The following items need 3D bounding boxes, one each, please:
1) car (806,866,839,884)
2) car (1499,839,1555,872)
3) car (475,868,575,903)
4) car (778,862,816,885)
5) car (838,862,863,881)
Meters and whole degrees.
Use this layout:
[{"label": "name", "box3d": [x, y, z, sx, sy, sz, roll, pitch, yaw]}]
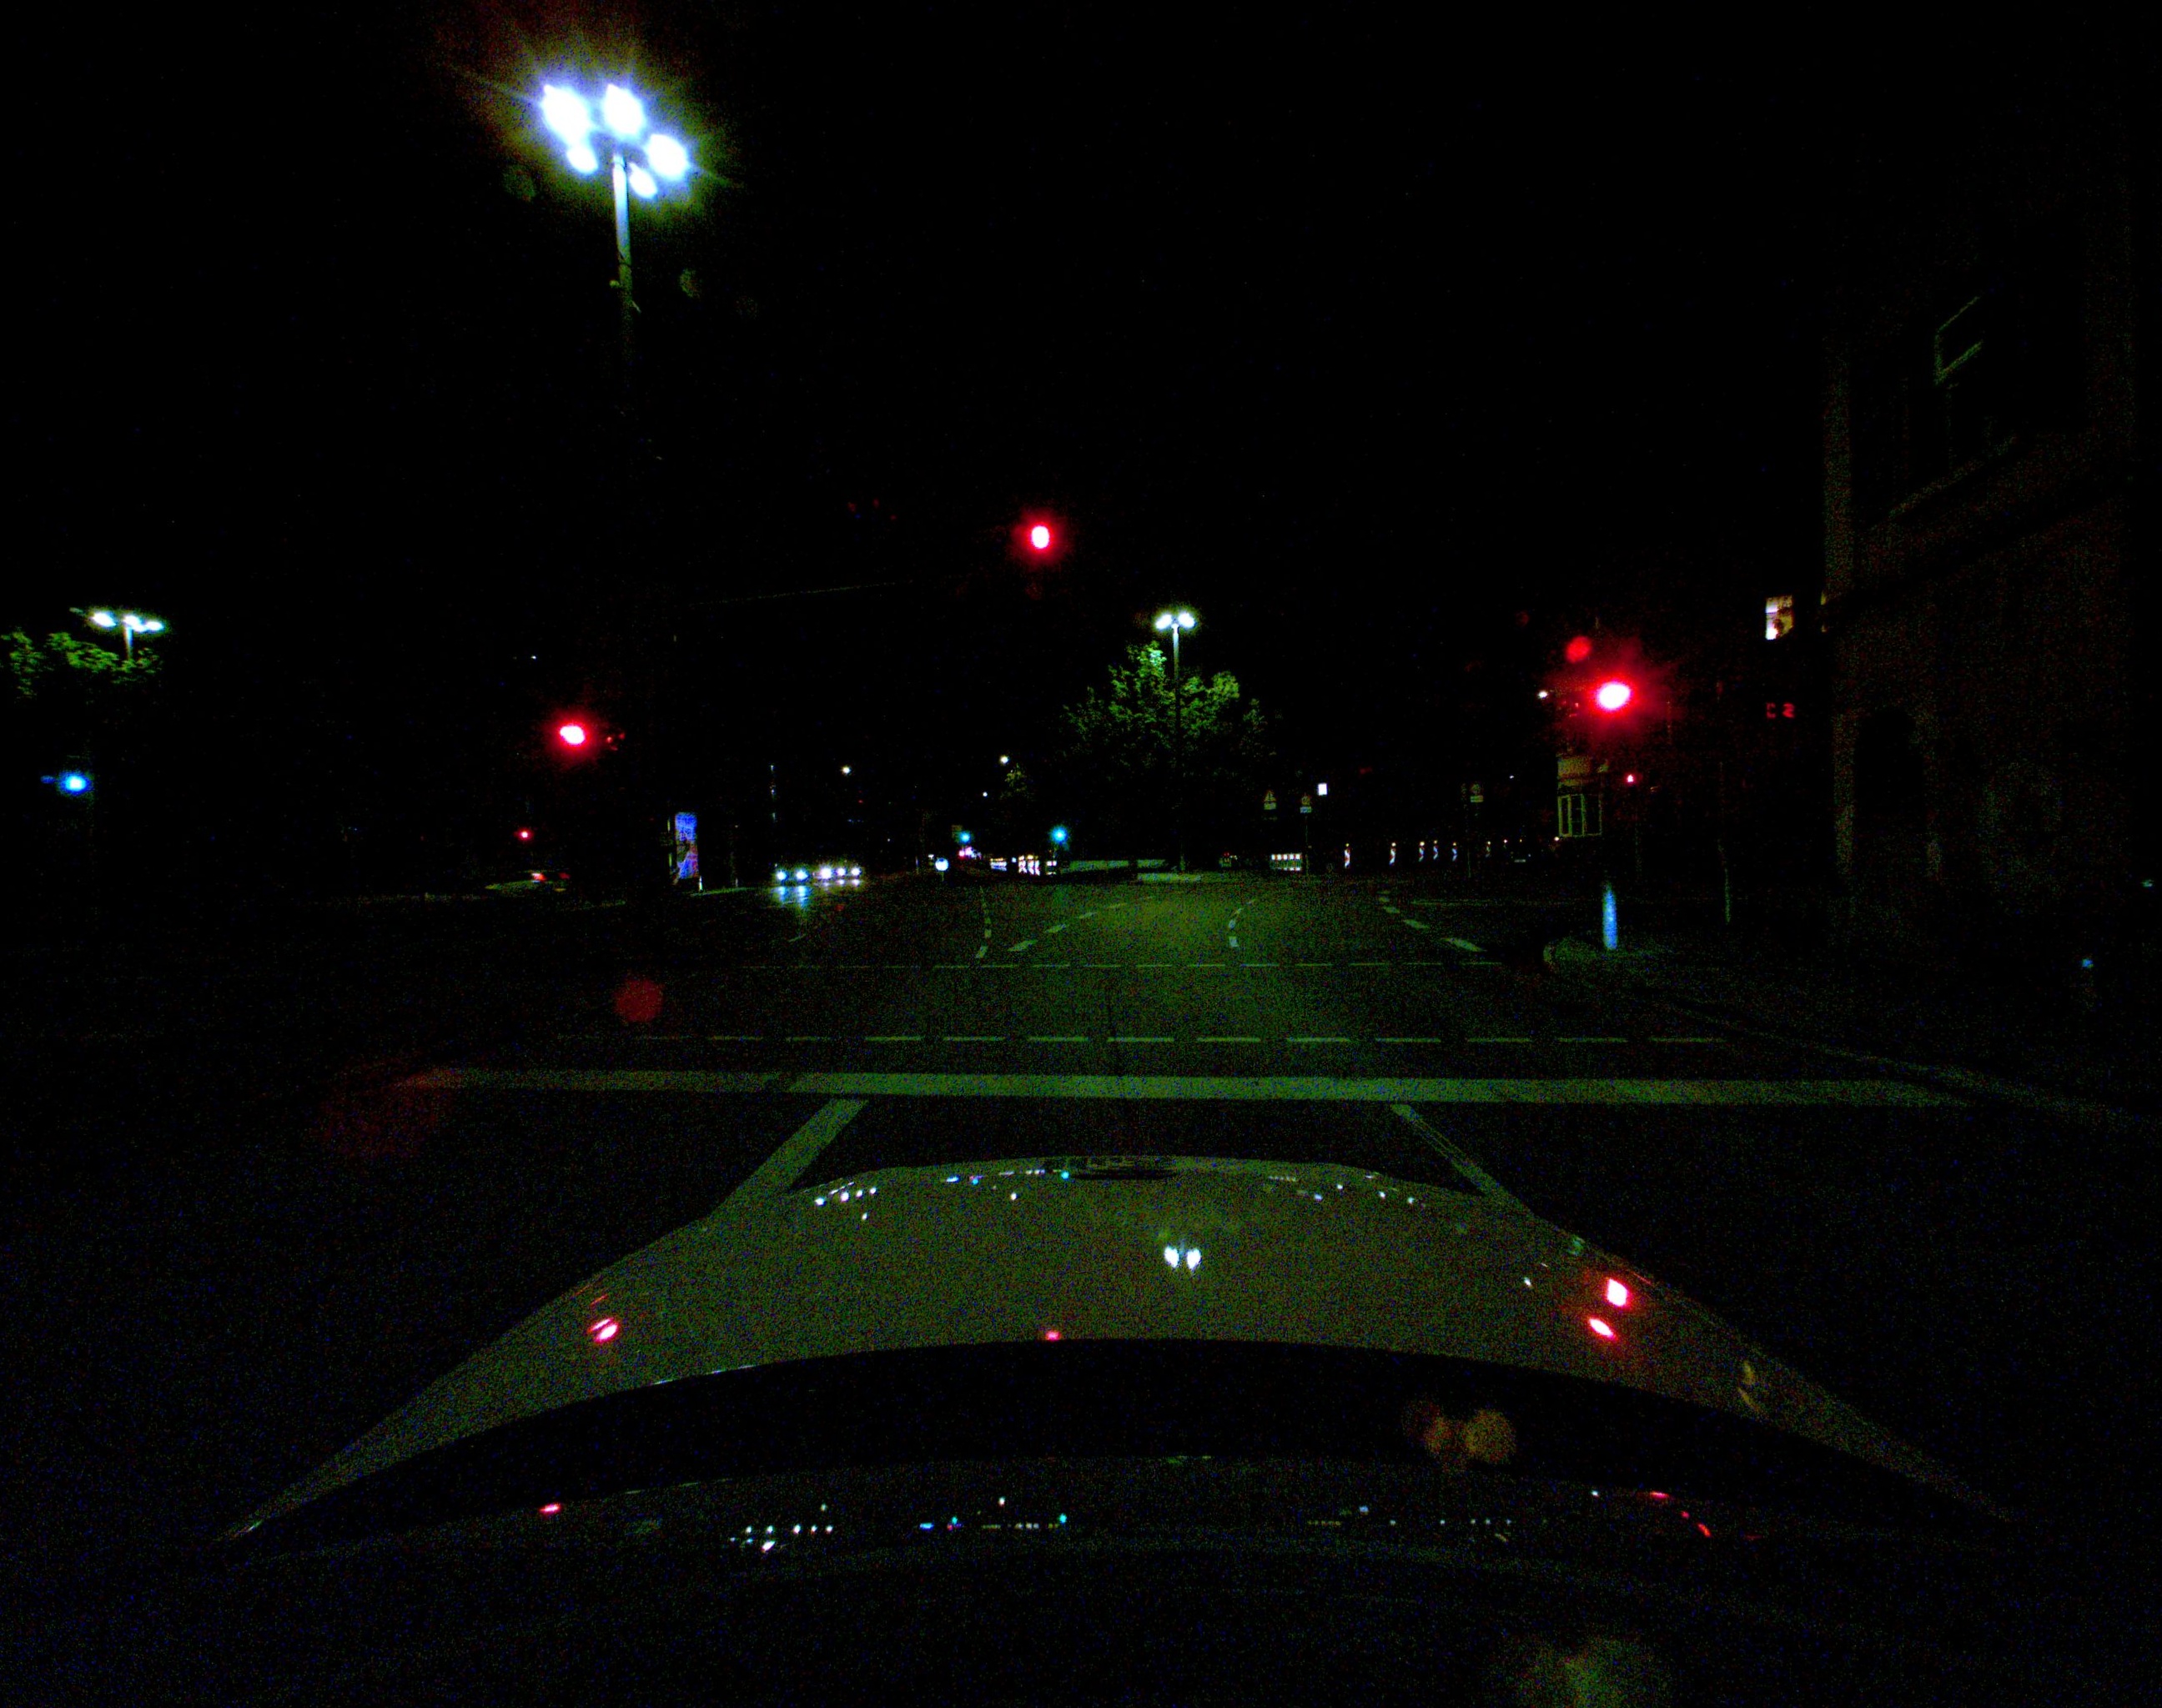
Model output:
[{"label": "car", "box3d": [-20.168, 1.624, 63.596, 1.756, 1.322, 3.538, -2, -1, -7]}, {"label": "car", "box3d": [22.868, 0.072, 41.670, 1.711, 1.612, 3.646, -2, -1, 41]}, {"label": "car", "box3d": [-25.839, 1.471, 37.883, 3.955, 1.491, 1.716, -2, -1, 17]}, {"label": "car", "box3d": [-19.493, 1.327, 56.064, 1.614, 1.515, 3.990, -2, -1, -7]}, {"label": "car", "box3d": [-22.244, 1.694, 78.692, 1.756, 1.728, 3.538, -2, -1, -7]}]
